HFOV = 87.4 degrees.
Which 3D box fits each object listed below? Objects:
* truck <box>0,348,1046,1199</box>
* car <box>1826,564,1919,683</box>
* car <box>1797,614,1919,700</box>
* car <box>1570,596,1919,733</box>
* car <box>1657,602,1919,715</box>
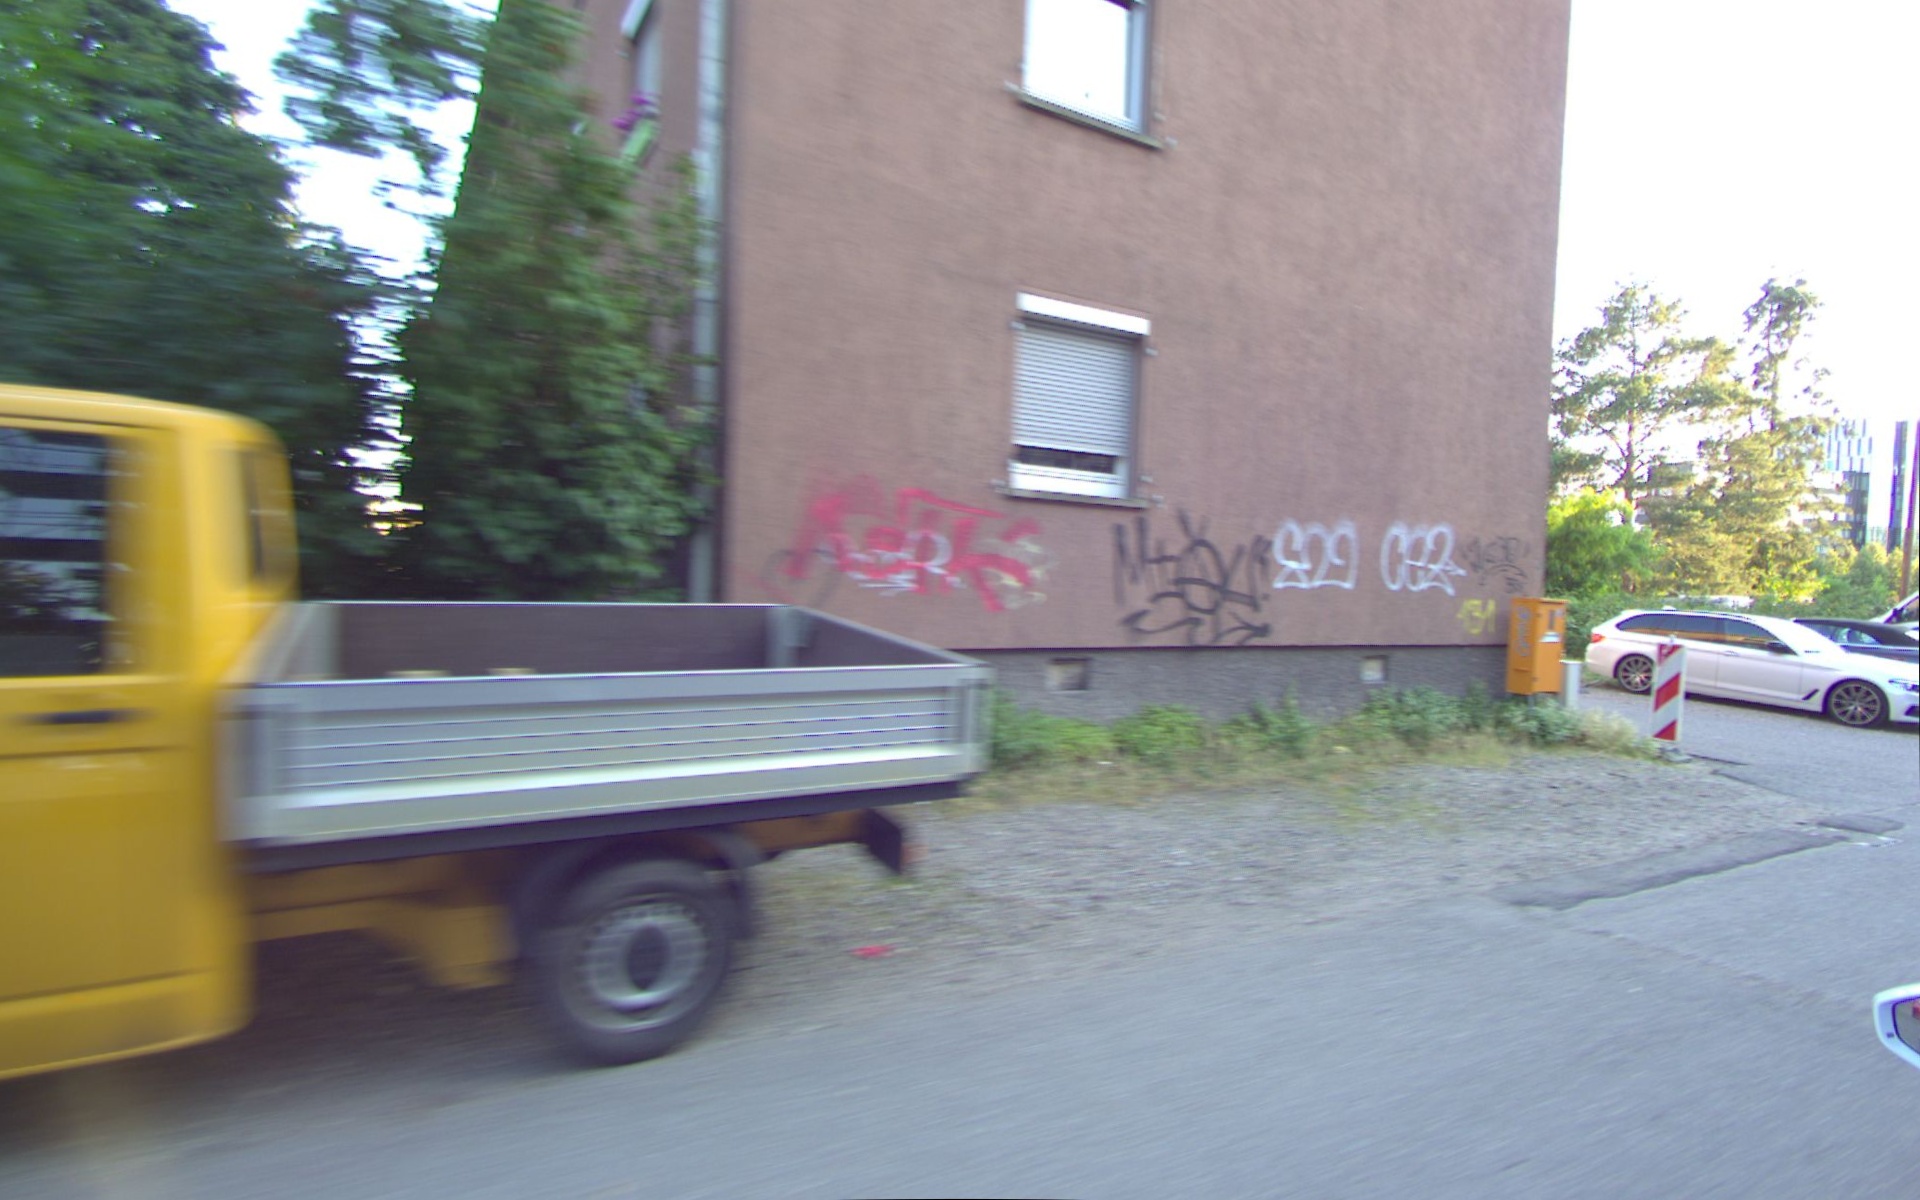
[{"bbox_3d":[-2.645,0.363,3.093,5.596,1.939,2.024,2,2,-31],"label":"truck"},{"bbox_3d":[23.175,0.644,22.161,2.194,2.661,5.665,2,2,-28],"label":"car"},{"bbox_3d":[18.345,1.135,18.718,1.708,1.449,3.815,2,2,-32],"label":"car"},{"bbox_3d":[12.918,0.910,16.082,2.089,1.565,4.973,2,3,-28],"label":"car"},{"bbox_3d":[14.927,0.962,17.343,1.709,1.565,4.390,2,2,-33],"label":"car"}]
